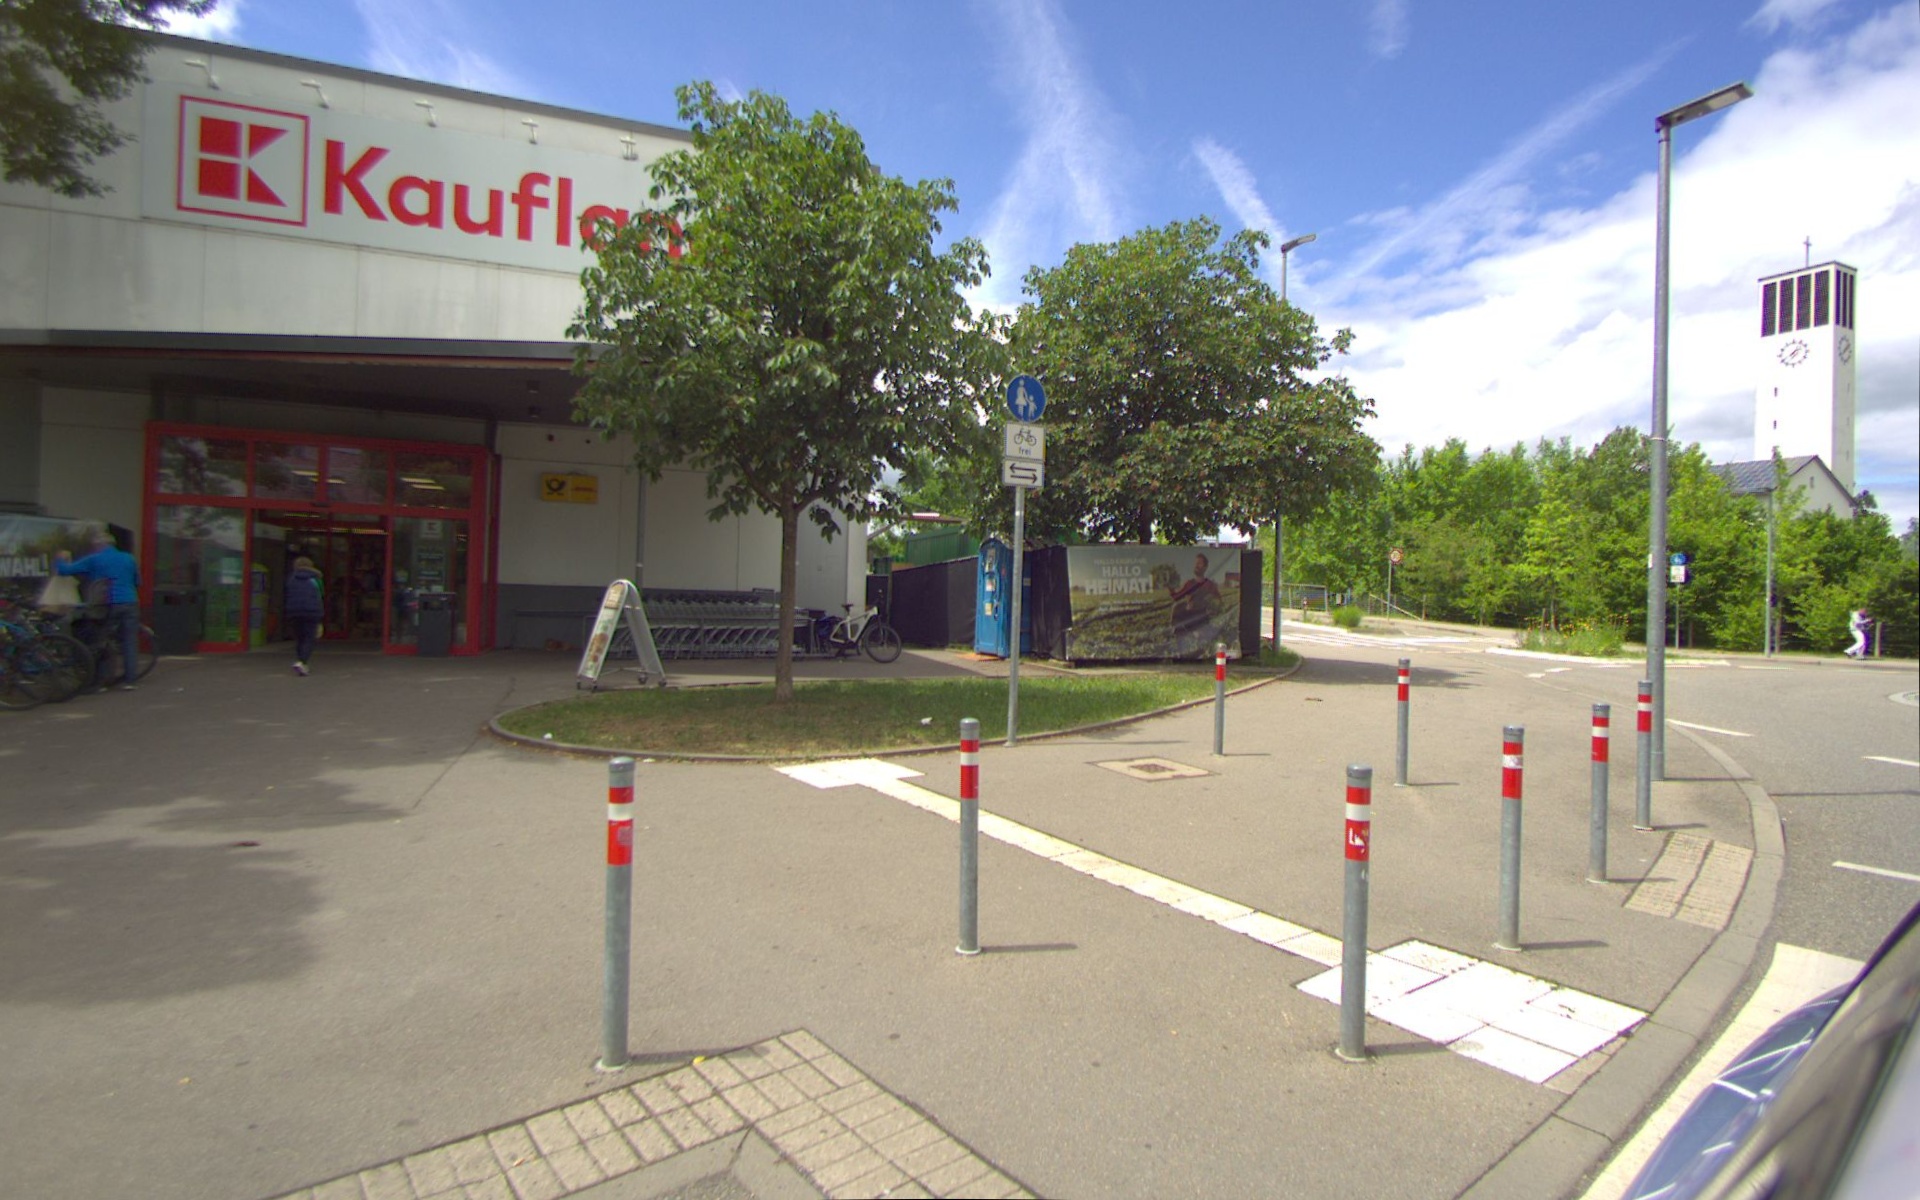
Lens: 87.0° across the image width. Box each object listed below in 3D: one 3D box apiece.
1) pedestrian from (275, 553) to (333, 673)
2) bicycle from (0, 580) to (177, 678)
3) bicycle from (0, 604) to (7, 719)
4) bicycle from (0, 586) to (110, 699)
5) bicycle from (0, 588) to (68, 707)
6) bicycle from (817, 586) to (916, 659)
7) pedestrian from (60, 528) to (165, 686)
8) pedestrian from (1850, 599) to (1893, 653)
[{"bbox_3d":[-8.881,0.166,13.714,0.485,1.586,0.628,1,0,-17],"label":"pedestrian"},{"bbox_3d":[-10.835,0.350,12.414,1.873,1.170,0.531,1,-1,-15],"label":"bicycle"},{"bbox_3d":[-9.601,0.566,8.850,1.763,1.054,0.522,1,1,-25],"label":"bicycle"},{"bbox_3d":[-10.116,0.441,10.647,1.730,1.170,0.441,1,-1,-19],"label":"bicycle"},{"bbox_3d":[-9.930,0.463,9.991,1.626,1.170,0.427,1,-1,-18],"label":"bicycle"},{"bbox_3d":[-1.685,0.377,18.052,1.763,1.250,0.705,0,-1,38],"label":"bicycle"},{"bbox_3d":[-9.867,0.071,11.802,0.732,1.778,0.626,1,2,-14],"label":"pedestrian"},{"bbox_3d":[26.693,0.764,29.633,0.943,1.553,0.459,2,-1,-12],"label":"pedestrian"}]
